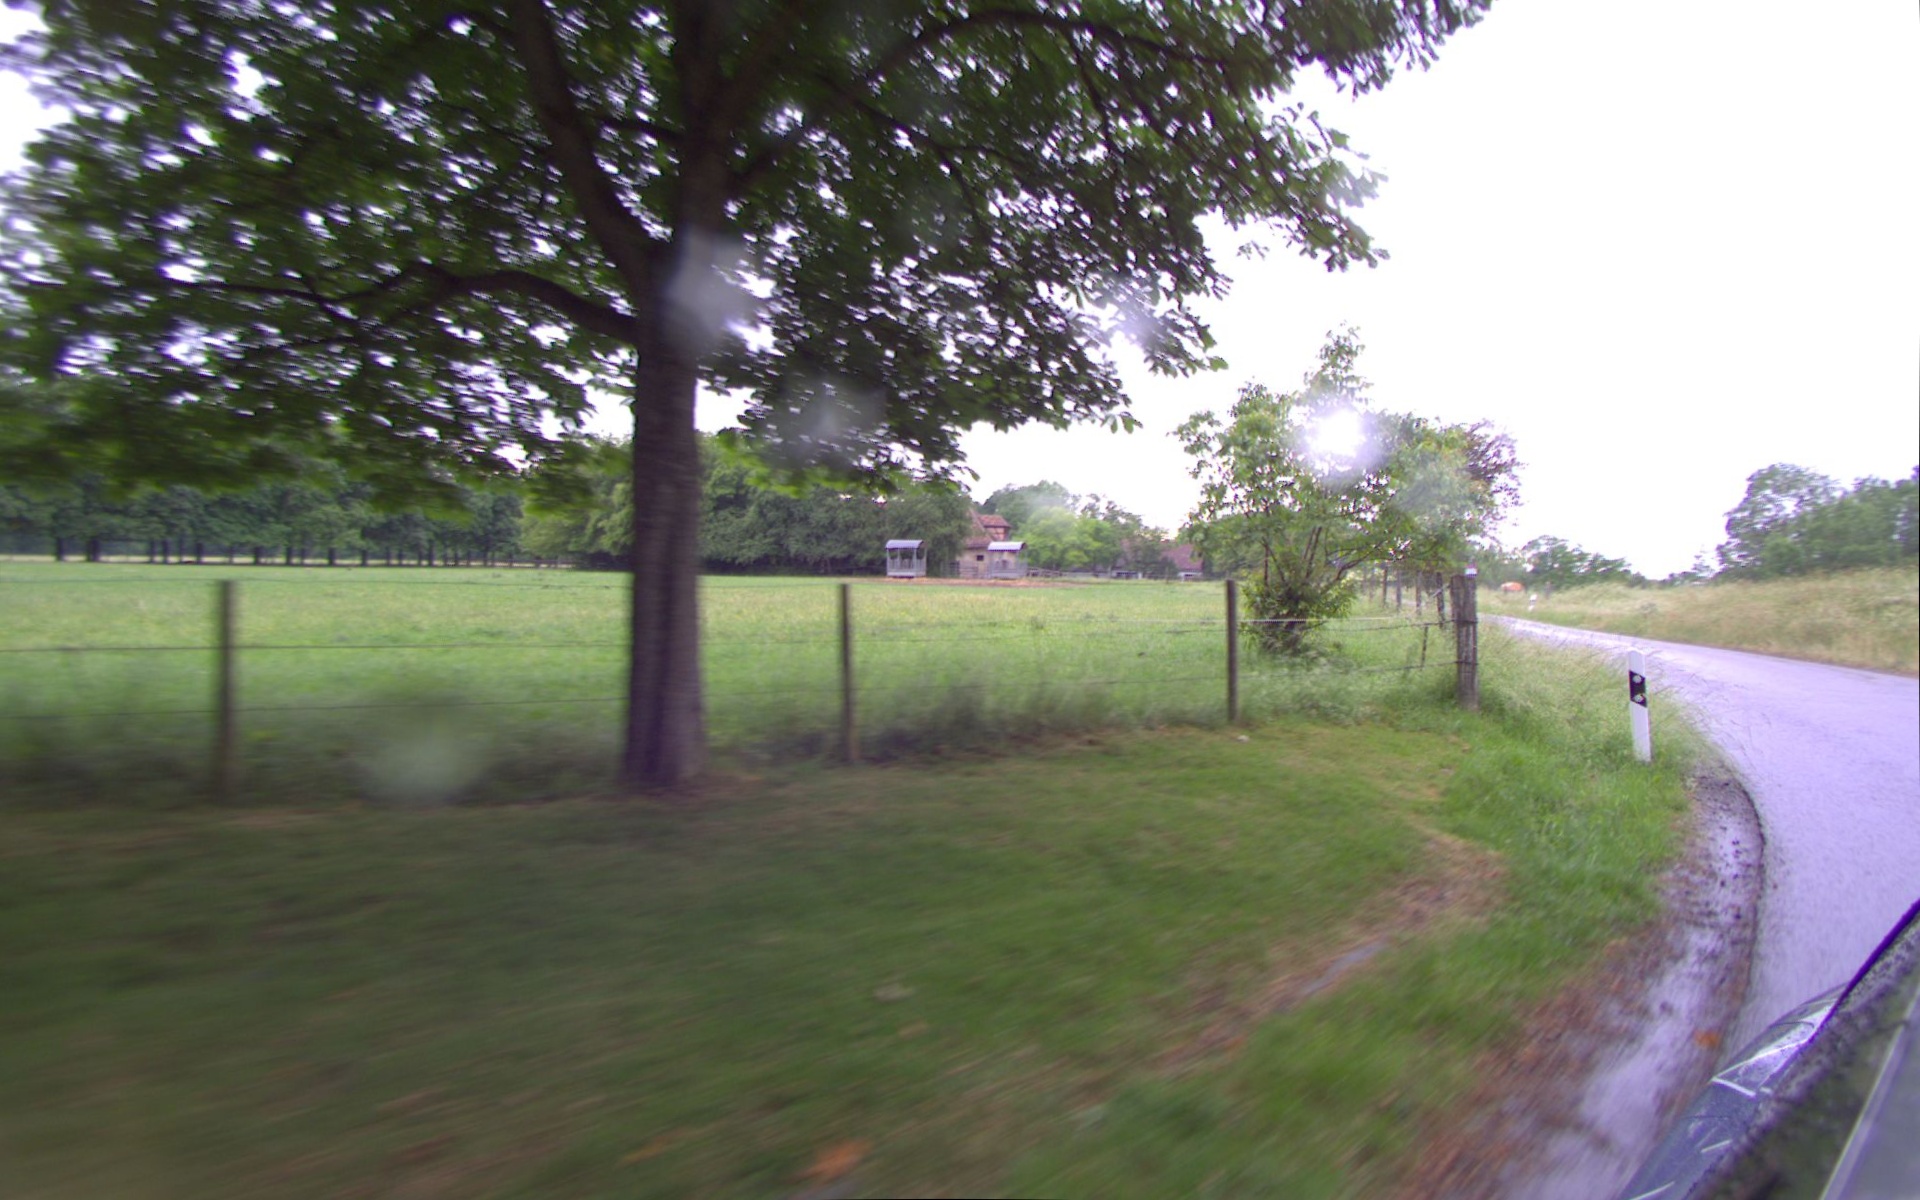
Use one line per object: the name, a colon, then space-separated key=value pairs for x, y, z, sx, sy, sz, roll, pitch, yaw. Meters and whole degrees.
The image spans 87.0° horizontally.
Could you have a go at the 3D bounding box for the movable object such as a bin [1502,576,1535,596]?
movable object such as a bin: x=47.927 y=-1.244 z=86.931 sx=1.661 sy=1.590 sz=3.522 roll=2 pitch=2 yaw=16
